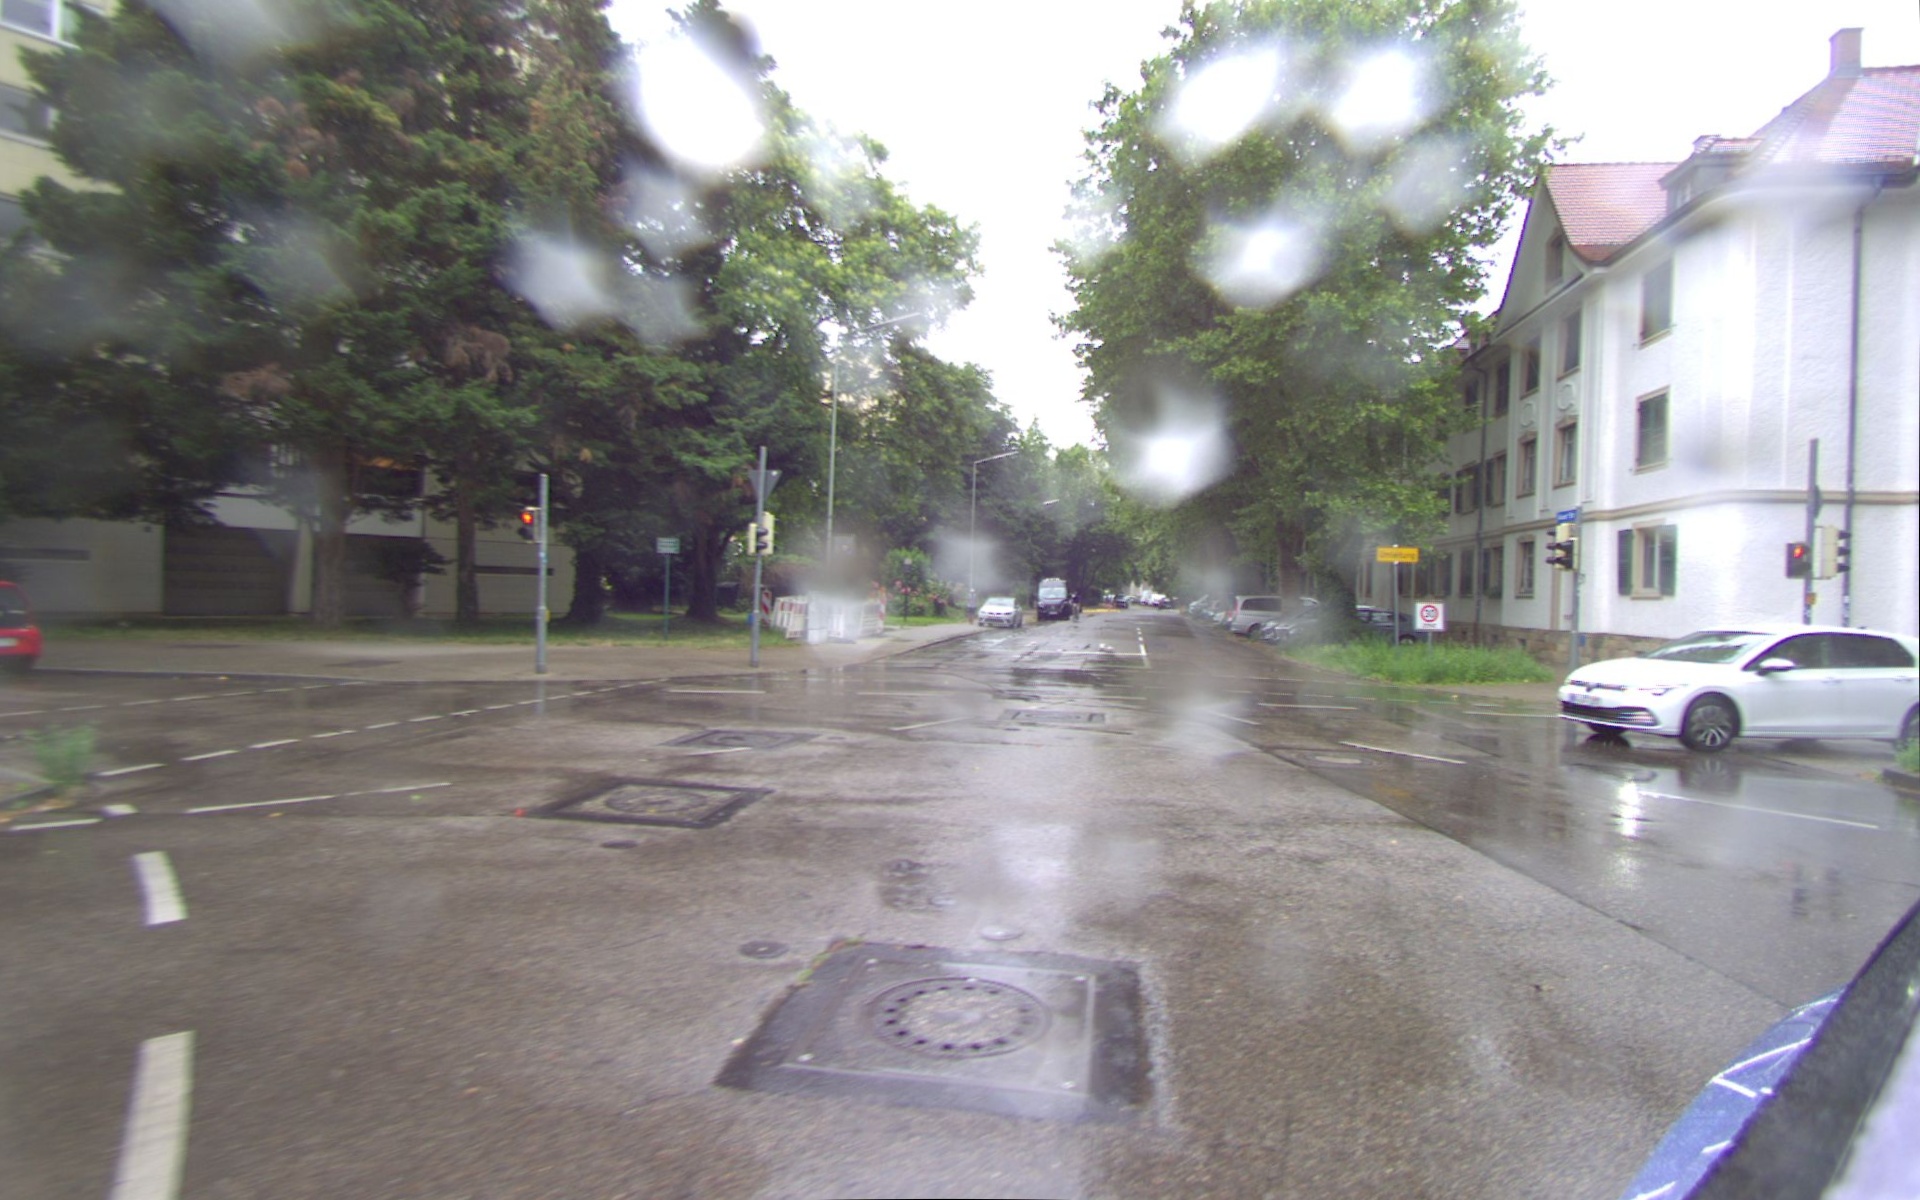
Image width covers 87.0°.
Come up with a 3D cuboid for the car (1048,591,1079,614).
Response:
[{"bbox_3d":[7.531,0.147,73.638,1.968,1.558,3.989,1,0,10],"label":"car"}]

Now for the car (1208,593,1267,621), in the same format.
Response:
[{"bbox_3d":[19.001,0.456,69.339,3.664,1.711,1.931,3,0,11],"label":"car"}]

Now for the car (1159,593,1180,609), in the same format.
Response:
[{"bbox_3d":[24.800,0.074,120.028,1.965,1.829,3.994,1,0,6],"label":"car"}]

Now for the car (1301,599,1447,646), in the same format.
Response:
[{"bbox_3d":[13.066,0.699,32.147,3.932,1.371,1.794,1,0,7],"label":"car"}]

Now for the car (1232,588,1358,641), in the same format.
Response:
[{"bbox_3d":[13.608,0.555,41.379,4.599,1.897,2.027,3,0,11],"label":"car"}]

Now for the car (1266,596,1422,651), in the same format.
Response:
[{"bbox_3d":[13.148,0.771,34.938,4.663,1.643,1.925,3,0,9],"label":"car"}]

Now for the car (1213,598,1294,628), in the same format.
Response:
[{"bbox_3d":[17.651,0.754,61.061,4.459,1.590,2.027,3,0,11],"label":"car"}]

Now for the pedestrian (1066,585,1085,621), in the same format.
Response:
[{"bbox_3d":[6.867,0.182,59.986,0.930,2.088,1.076,2,0,14],"label":"pedestrian"}]

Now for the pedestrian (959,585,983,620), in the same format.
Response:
[{"bbox_3d":[0.544,0.135,49.992,0.930,1.681,0.924,2,0,14],"label":"pedestrian"}]

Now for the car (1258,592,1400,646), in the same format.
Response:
[{"bbox_3d":[13.545,0.660,37.434,4.599,1.711,2.027,3,0,11],"label":"car"}]

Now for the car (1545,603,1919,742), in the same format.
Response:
[{"bbox_3d":[9.550,0.850,11.903,4.312,1.452,1.783,1,-3,-4],"label":"car"}]

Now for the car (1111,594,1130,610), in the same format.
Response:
[{"bbox_3d":[19.045,0.225,120.467,1.966,1.829,4.342,1,0,6],"label":"car"}]

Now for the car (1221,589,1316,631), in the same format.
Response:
[{"bbox_3d":[15.925,0.514,52.478,4.370,1.923,2.028,3,0,9],"label":"car"}]

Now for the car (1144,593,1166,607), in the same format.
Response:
[{"bbox_3d":[23.974,0.025,124.534,1.961,1.643,3.697,1,0,-2],"label":"car"}]

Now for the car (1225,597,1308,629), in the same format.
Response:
[{"bbox_3d":[17.678,0.747,58.546,4.342,1.605,1.921,3,0,11],"label":"car"}]

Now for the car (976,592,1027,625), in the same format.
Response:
[{"bbox_3d":[2.047,0.389,48.703,1.794,1.478,4.257,1,0,12],"label":"car"}]

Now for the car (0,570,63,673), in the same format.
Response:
[{"bbox_3d":[-16.014,0.284,15.333,3.401,1.544,1.839,1,0,7],"label":"car"}]

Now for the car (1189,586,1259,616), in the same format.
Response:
[{"bbox_3d":[20.378,0.052,78.336,5.011,2.049,2.027,3,0,11],"label":"car"}]

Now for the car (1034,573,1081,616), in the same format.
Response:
[{"bbox_3d":[6.222,-0.321,64.146,2.365,2.506,5.673,2,0,11],"label":"car"}]
